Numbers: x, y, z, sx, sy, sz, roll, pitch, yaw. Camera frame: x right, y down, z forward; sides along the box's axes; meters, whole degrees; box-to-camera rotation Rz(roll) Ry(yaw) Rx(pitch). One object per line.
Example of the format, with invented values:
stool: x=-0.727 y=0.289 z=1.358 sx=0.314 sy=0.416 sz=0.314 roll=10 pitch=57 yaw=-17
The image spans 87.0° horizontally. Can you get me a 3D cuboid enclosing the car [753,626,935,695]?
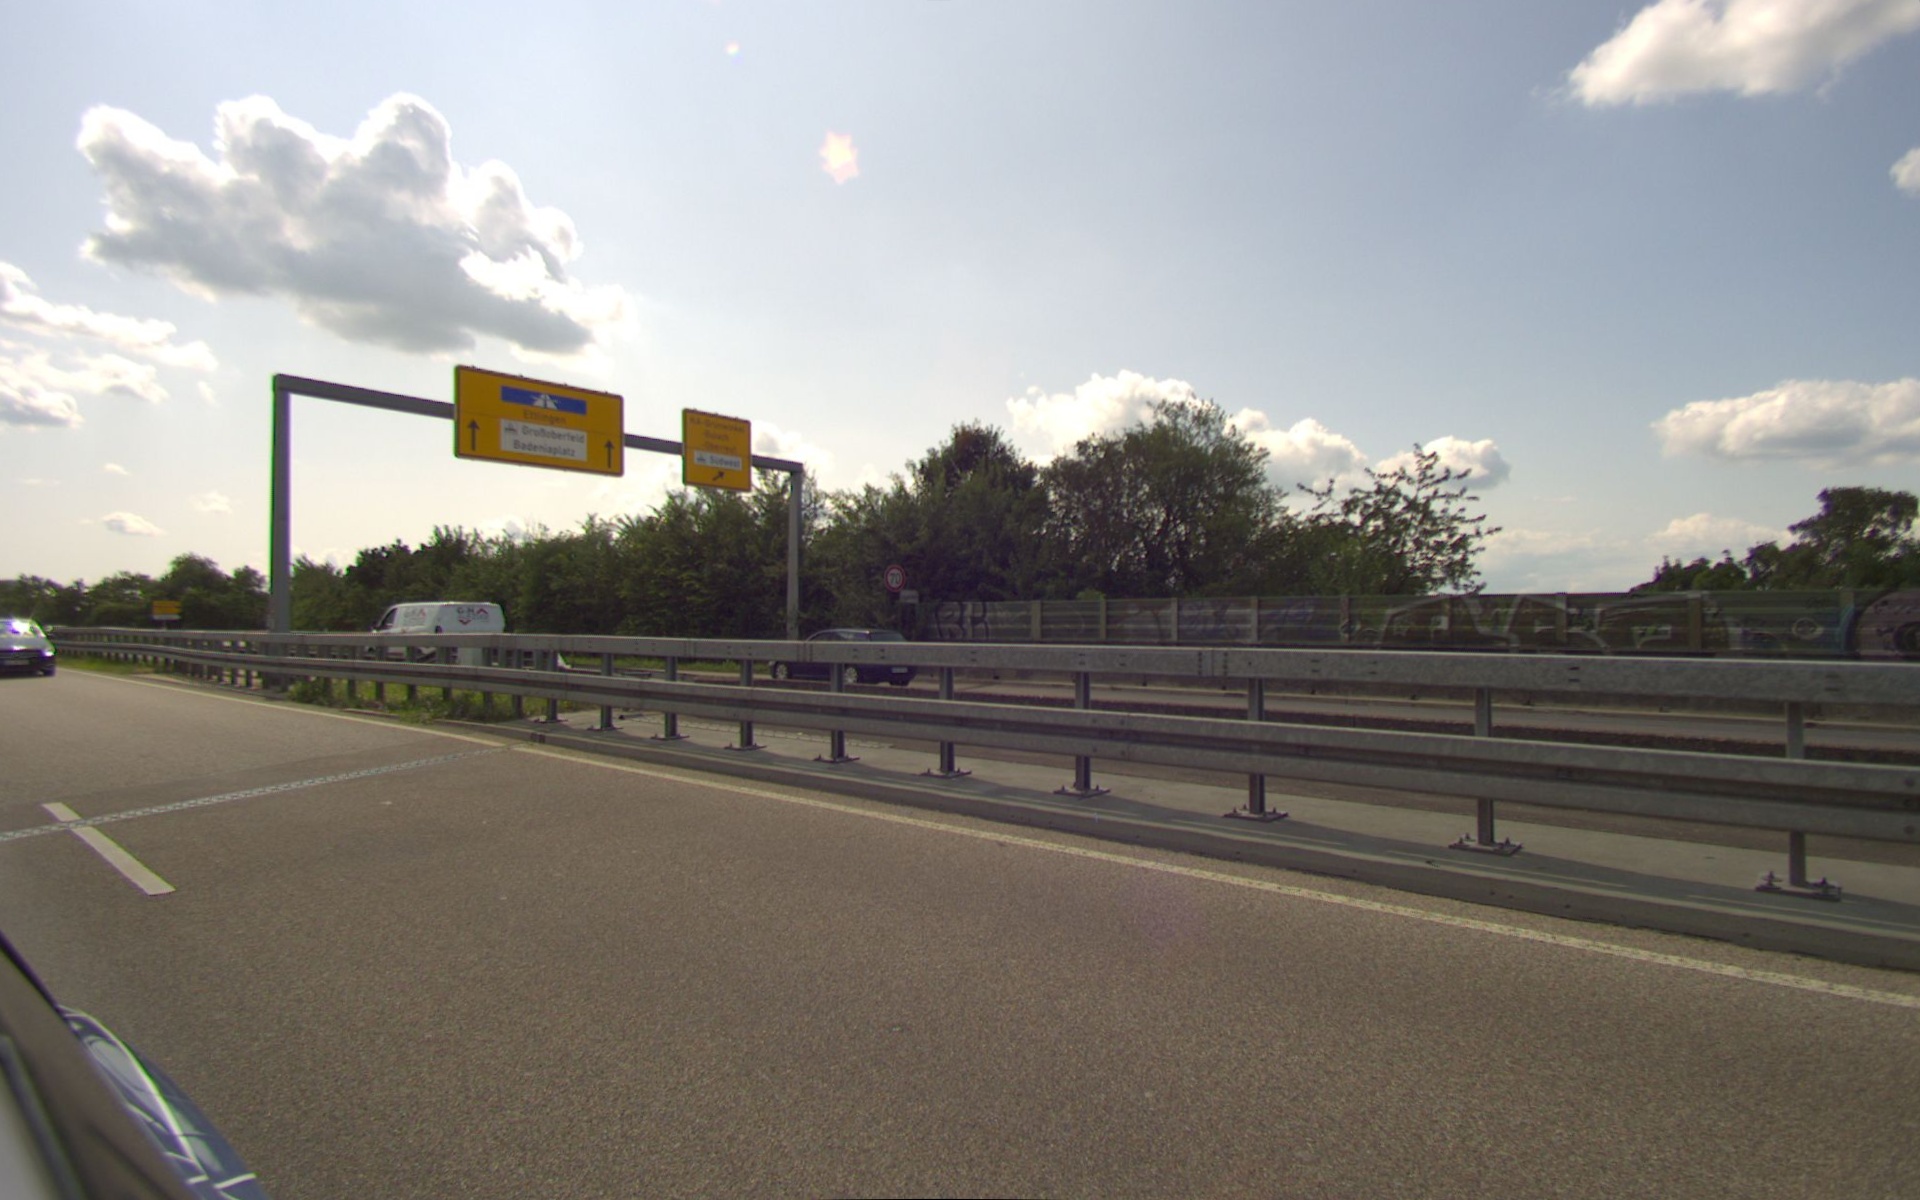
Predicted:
car: x=-2.818 y=1.357 z=23.993 sx=4.397 sy=1.442 sz=1.672 roll=-1 pitch=0 yaw=39

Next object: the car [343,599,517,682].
car: x=-14.101 y=1.038 z=26.816 sx=5.223 sy=2.004 sz=2.059 roll=0 pitch=-4 yaw=39

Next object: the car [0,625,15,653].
car: x=-69.080 y=2.779 z=72.074 sx=5.389 sy=1.877 sz=1.973 roll=-1 pitch=0 yaw=40

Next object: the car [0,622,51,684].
car: x=-25.975 y=1.385 z=27.268 sx=4.591 sy=1.539 sz=1.693 roll=-1 pitch=0 yaw=42
